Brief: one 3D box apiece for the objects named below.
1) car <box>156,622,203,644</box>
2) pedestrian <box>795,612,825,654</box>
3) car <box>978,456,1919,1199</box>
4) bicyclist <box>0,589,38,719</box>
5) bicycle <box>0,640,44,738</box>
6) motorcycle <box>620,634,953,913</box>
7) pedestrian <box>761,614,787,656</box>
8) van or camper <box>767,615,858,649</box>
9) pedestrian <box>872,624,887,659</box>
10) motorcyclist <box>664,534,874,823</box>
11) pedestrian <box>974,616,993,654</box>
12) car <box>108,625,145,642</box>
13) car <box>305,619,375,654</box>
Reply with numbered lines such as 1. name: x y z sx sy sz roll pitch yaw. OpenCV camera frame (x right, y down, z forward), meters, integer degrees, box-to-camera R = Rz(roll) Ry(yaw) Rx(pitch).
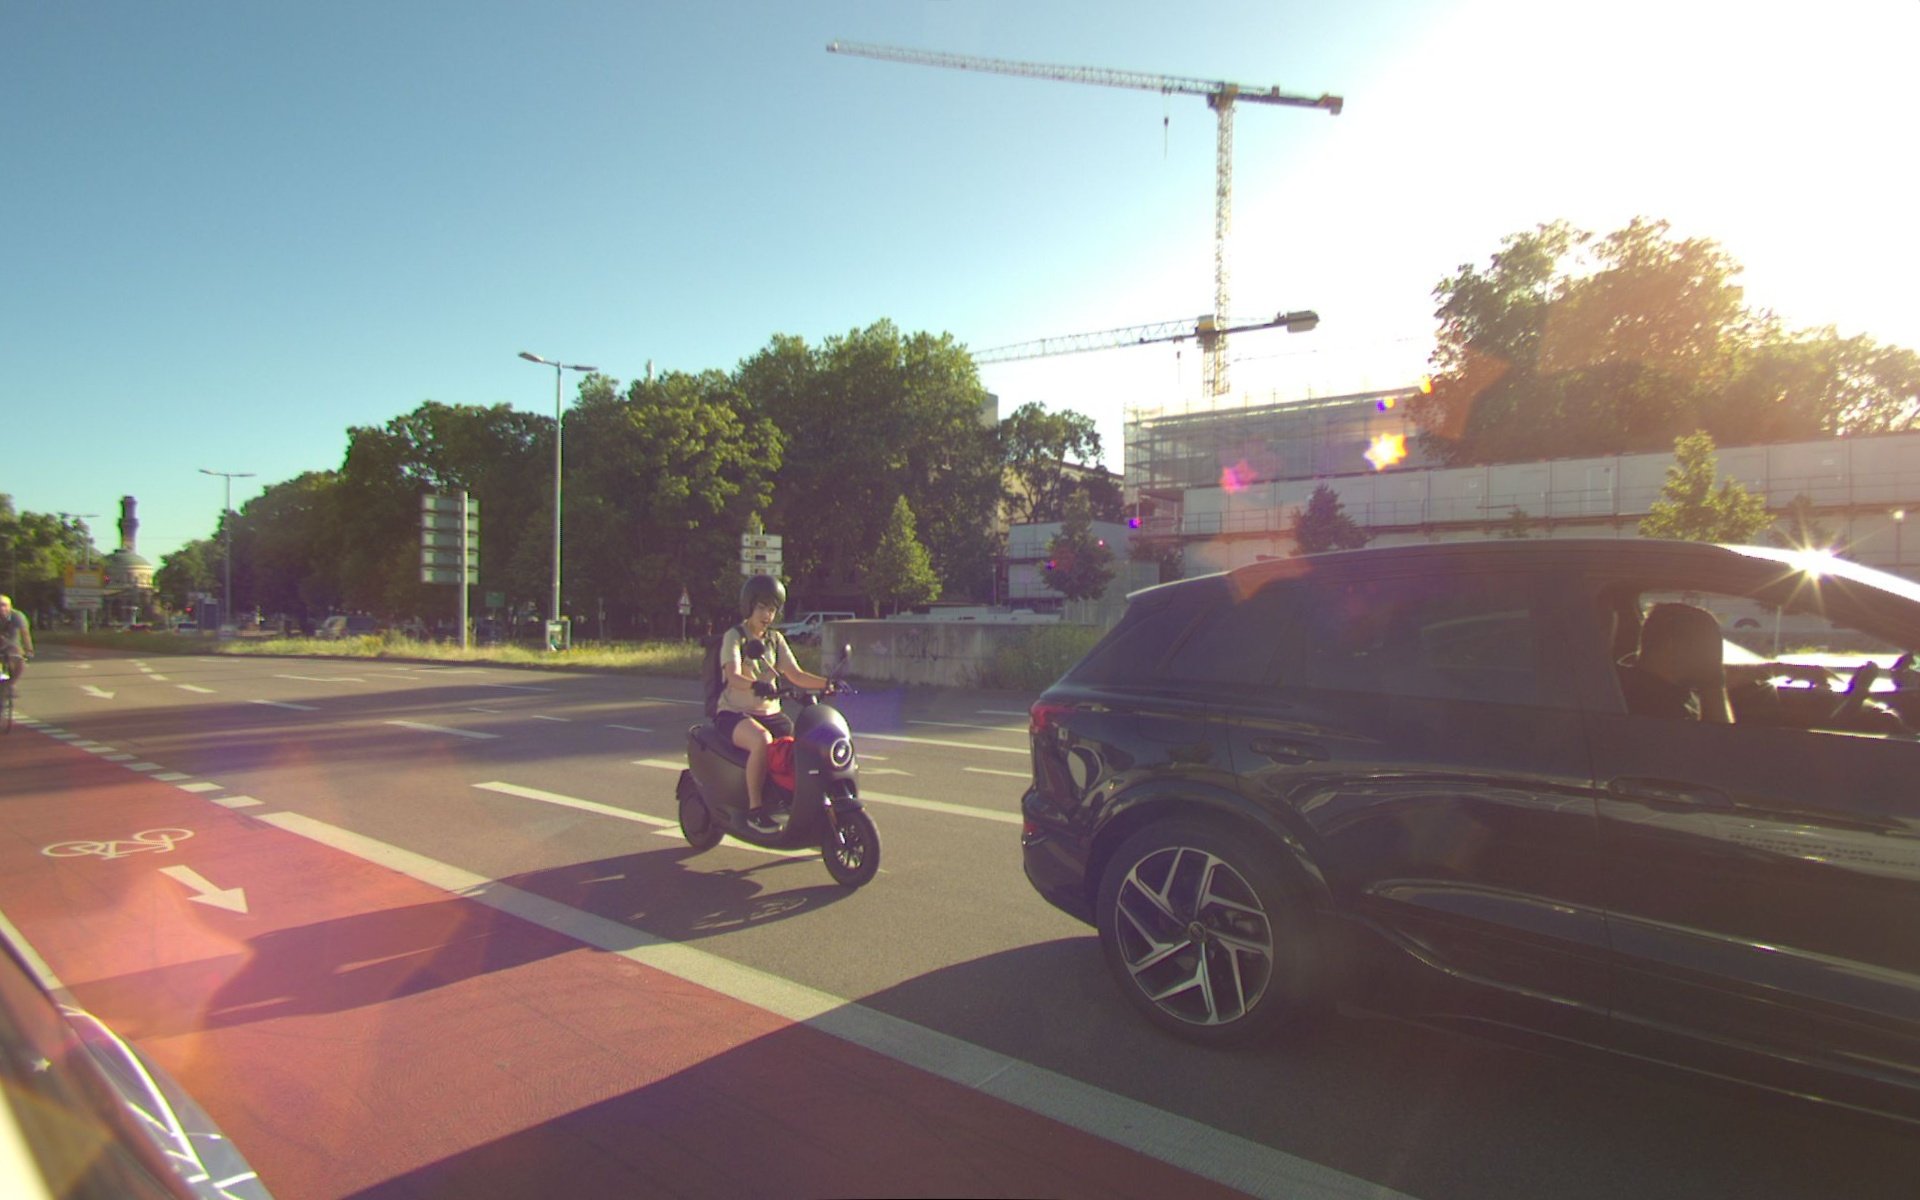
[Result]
1. car: -50.949 2.151 66.040 3.941 1.387 1.705 -1 -2 41
2. pedestrian: -7.224 1.570 48.752 0.815 1.978 1.111 -1 0 41
3. car: 2.541 0.550 3.186 4.660 1.720 2.144 -1 -1 40
4. bicyclist: -12.659 0.702 13.309 0.877 1.671 0.666 -1 -2 41
5. bicycle: -12.574 1.141 13.242 1.505 1.201 0.680 -1 -2 41
6. motorcycle: -1.030 0.843 5.712 1.943 1.290 0.817 -1 -2 41
7. pedestrian: -9.126 1.688 49.593 0.837 2.029 0.947 -1 0 29
8. van or camper: -8.960 1.931 61.892 1.951 1.960 5.425 -2 -2 44
9. pedestrian: -3.564 1.838 44.835 0.494 1.522 0.492 -1 -2 41
10. motorcyclist: -1.089 0.414 5.781 0.877 1.475 0.813 -1 -2 41
11. pedestrian: 1.008 1.527 43.971 0.597 1.614 0.580 -1 0 38
12. car: -73.212 2.915 88.854 3.979 1.492 1.857 -1 -2 41
13. car: -35.322 2.065 57.618 4.925 1.937 1.863 -1 -2 39
